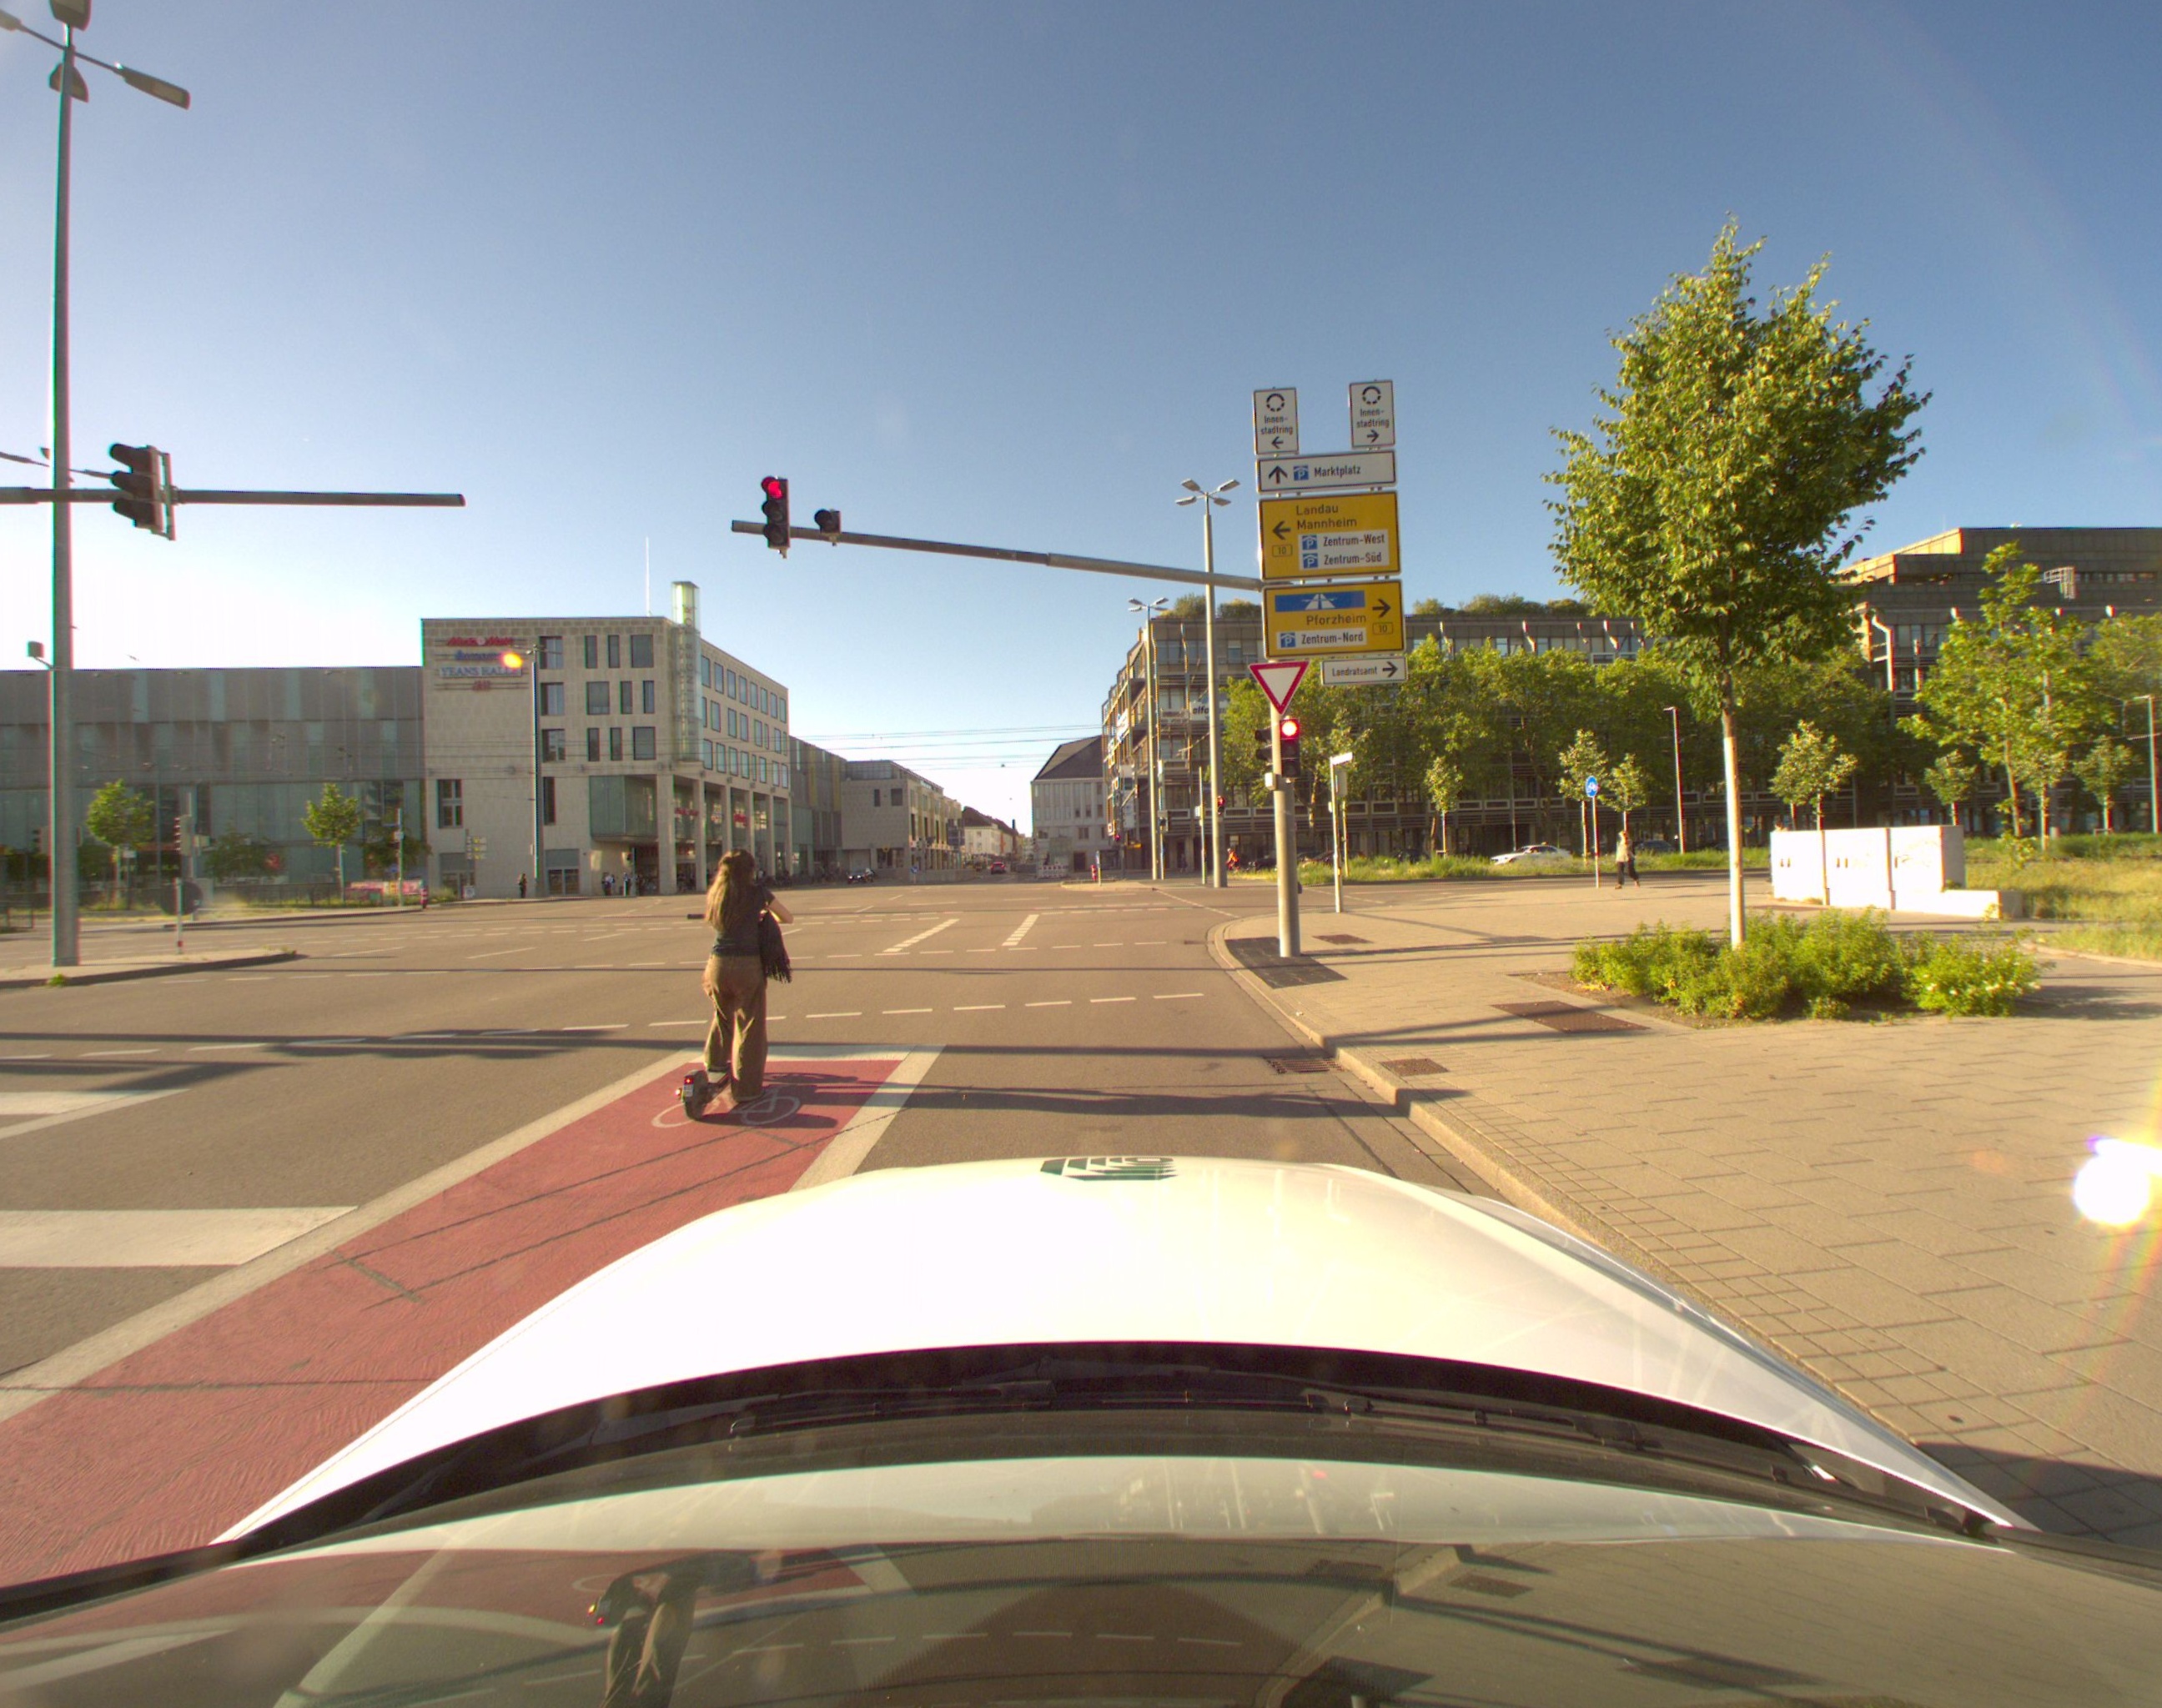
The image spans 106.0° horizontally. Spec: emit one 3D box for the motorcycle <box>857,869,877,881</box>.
[{"bbox_3d":[-25.971,2.533,98.863,2.269,1.318,0.719,-2,0,-4],"label":"motorcycle"}]

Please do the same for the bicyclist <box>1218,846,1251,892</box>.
[{"bbox_3d":[8.880,0.855,47.065,1.566,2.580,0.929,-2,0,-7],"label":"bicyclist"}]

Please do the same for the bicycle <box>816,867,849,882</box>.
[{"bbox_3d":[-28.293,2.326,92.776,3.491,1.527,0.984,-2,0,-10],"label":"bicycle"}]

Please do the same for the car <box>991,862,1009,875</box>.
[{"bbox_3d":[-10.793,1.882,108.857,2.195,1.607,4.320,-2,0,-4],"label":"car"}]

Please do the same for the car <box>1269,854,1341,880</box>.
[{"bbox_3d":[13.847,0.783,50.469,3.976,1.508,1.867,-1,0,-2],"label":"car"}]

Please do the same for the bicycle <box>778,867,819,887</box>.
[{"bbox_3d":[-27.048,2.207,78.063,3.491,1.696,0.984,-2,0,-10],"label":"bicycle"}]

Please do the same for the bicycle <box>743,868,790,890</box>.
[{"bbox_3d":[-26.736,2.093,69.290,3.488,1.696,1.114,-2,0,-7],"label":"bicycle"}]

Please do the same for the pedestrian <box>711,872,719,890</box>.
[{"bbox_3d":[-32.209,2.381,71.684,0.480,1.510,0.513,-2,0,-3],"label":"pedestrian"}]

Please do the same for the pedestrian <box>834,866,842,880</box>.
[{"bbox_3d":[-29.471,2.280,98.714,0.702,1.642,0.687,-2,0,-35],"label":"pedestrian"}]

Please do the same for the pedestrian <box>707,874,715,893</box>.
[{"bbox_3d":[-32.279,2.579,71.058,0.480,1.585,0.513,-2,0,-3],"label":"pedestrian"}]

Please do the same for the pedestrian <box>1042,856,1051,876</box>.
[{"bbox_3d":[-2.885,0.975,68.889,0.661,1.658,0.755,-2,0,-1],"label":"pedestrian"}]

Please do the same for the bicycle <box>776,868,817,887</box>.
[{"bbox_3d":[-26.860,2.196,76.855,3.491,1.696,0.984,-2,0,-10],"label":"bicycle"}]

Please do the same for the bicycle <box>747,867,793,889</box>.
[{"bbox_3d":[-26.913,2.075,70.467,3.488,1.696,1.114,-2,0,-7],"label":"bicycle"}]

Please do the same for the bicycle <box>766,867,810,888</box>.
[{"bbox_3d":[-26.324,2.112,73.172,3.488,1.696,1.114,-2,0,-7],"label":"bicycle"}]

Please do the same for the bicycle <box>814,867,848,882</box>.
[{"bbox_3d":[-28.176,2.288,91.746,3.491,1.527,0.984,-2,0,-10],"label":"bicycle"}]

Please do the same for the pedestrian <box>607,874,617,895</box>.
[{"bbox_3d":[-35.014,2.291,60.799,0.420,1.565,0.457,-2,0,2],"label":"pedestrian"}]

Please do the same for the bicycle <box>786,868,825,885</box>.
[{"bbox_3d":[-27.414,2.223,81.157,3.491,1.527,0.984,-2,0,-10],"label":"bicycle"}]

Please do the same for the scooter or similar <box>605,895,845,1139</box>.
[{"bbox_3d":[-2.146,0.915,5.185,0.725,1.202,1.665,-1,0,2],"label":"scooter or similar"}]

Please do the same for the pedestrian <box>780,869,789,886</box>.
[{"bbox_3d":[-30.121,2.402,82.629,0.652,1.642,0.693,-2,0,-7],"label":"pedestrian"}]

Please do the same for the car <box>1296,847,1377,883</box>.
[{"bbox_3d":[14.447,0.620,46.203,3.975,2.014,1.999,0,-1,-1],"label":"car"}]

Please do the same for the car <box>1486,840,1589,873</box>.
[{"bbox_3d":[28.888,0.146,51.647,5.424,2.014,2.097,0,-1,-1],"label":"car"}]

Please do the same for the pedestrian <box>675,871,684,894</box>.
[{"bbox_3d":[-30.150,2.139,61.168,0.544,1.642,0.545,-2,0,-31],"label":"pedestrian"}]

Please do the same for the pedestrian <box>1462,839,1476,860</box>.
[{"bbox_3d":[31.445,-0.343,66.006,0.662,1.658,0.739,-2,0,-5],"label":"pedestrian"}]

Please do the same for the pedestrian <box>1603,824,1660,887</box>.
[{"bbox_3d":[14.775,0.042,21.869,0.801,1.630,0.939,-2,0,-12],"label":"pedestrian"}]

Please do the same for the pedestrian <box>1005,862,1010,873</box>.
[{"bbox_3d":[-9.658,1.767,107.300,0.608,1.411,0.569,-2,0,-5],"label":"pedestrian"}]

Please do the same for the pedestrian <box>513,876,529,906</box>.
[{"bbox_3d":[-32.550,2.145,47.318,0.525,1.694,0.546,-2,0,-8],"label":"pedestrian"}]

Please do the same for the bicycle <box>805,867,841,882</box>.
[{"bbox_3d":[-27.657,2.209,87.447,3.491,1.527,0.984,-2,0,-10],"label":"bicycle"}]

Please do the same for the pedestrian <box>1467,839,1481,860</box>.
[{"bbox_3d":[31.424,-0.350,65.111,0.662,1.658,0.739,-2,0,-5],"label":"pedestrian"}]

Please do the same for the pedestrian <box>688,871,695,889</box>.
[{"bbox_3d":[-34.853,2.362,72.916,0.385,1.585,0.367,-2,0,-3],"label":"pedestrian"}]

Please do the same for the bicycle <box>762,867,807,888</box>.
[{"bbox_3d":[-26.148,2.066,71.951,3.488,1.696,1.114,-2,0,-7],"label":"bicycle"}]

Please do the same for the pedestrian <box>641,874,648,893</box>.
[{"bbox_3d":[-33.107,2.263,61.766,0.389,1.426,0.497,-2,-1,-39],"label":"pedestrian"}]

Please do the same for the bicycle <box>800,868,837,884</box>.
[{"bbox_3d":[-27.552,2.288,85.578,3.491,1.527,0.984,-2,0,-10],"label":"bicycle"}]

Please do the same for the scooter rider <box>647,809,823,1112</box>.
[{"bbox_3d":[-2.175,0.632,5.222,0.726,1.775,0.811,-1,0,1],"label":"scooter rider"}]

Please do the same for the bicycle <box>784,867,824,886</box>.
[{"bbox_3d":[-27.252,2.231,80.160,3.491,1.696,0.984,-2,0,-10],"label":"bicycle"}]

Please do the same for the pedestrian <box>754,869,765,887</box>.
[{"bbox_3d":[-30.483,2.260,77.197,0.785,1.642,0.691,-2,0,-14],"label":"pedestrian"}]

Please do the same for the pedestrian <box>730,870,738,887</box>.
[{"bbox_3d":[-33.293,2.381,78.245,0.480,1.585,0.598,-2,0,-3],"label":"pedestrian"}]

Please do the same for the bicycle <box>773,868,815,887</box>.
[{"bbox_3d":[-26.684,2.177,75.758,3.491,1.696,0.984,-2,0,-10],"label":"bicycle"}]

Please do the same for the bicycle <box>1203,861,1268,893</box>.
[{"bbox_3d":[8.921,1.315,47.061,3.488,1.659,0.929,-2,0,-7],"label":"bicycle"}]

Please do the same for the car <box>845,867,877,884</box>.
[{"bbox_3d":[-20.845,2.020,77.407,1.988,1.486,3.997,-2,0,-2],"label":"car"}]

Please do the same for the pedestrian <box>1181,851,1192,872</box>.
[{"bbox_3d":[8.519,0.589,65.825,0.728,1.658,0.649,-2,0,-5],"label":"pedestrian"}]

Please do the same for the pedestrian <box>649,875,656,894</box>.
[{"bbox_3d":[-32.636,2.333,62.004,0.389,1.412,0.433,-2,-1,-39],"label":"pedestrian"}]

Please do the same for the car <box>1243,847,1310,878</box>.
[{"bbox_3d":[12.835,0.561,53.618,3.975,2.014,1.999,0,-1,-1],"label":"car"}]

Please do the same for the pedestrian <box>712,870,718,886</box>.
[{"bbox_3d":[-33.165,2.134,73.761,0.385,1.439,0.367,-2,0,-3],"label":"pedestrian"}]

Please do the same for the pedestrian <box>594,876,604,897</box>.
[{"bbox_3d":[-35.872,2.417,60.603,0.420,1.565,0.457,-2,0,2],"label":"pedestrian"}]

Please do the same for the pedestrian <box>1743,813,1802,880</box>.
[{"bbox_3d":[18.587,-0.193,21.907,0.694,1.728,0.939,-2,0,-12],"label":"pedestrian"}]

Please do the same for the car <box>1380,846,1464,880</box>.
[{"bbox_3d":[21.400,0.563,51.241,4.435,2.014,1.998,0,-1,-4],"label":"car"}]

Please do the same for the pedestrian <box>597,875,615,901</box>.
[{"bbox_3d":[-33.944,2.425,58.211,0.755,1.798,0.736,-2,0,-3],"label":"pedestrian"}]

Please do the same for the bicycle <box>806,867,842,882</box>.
[{"bbox_3d":[-27.926,2.209,88.576,3.491,1.527,0.984,-2,0,-10],"label":"bicycle"}]
